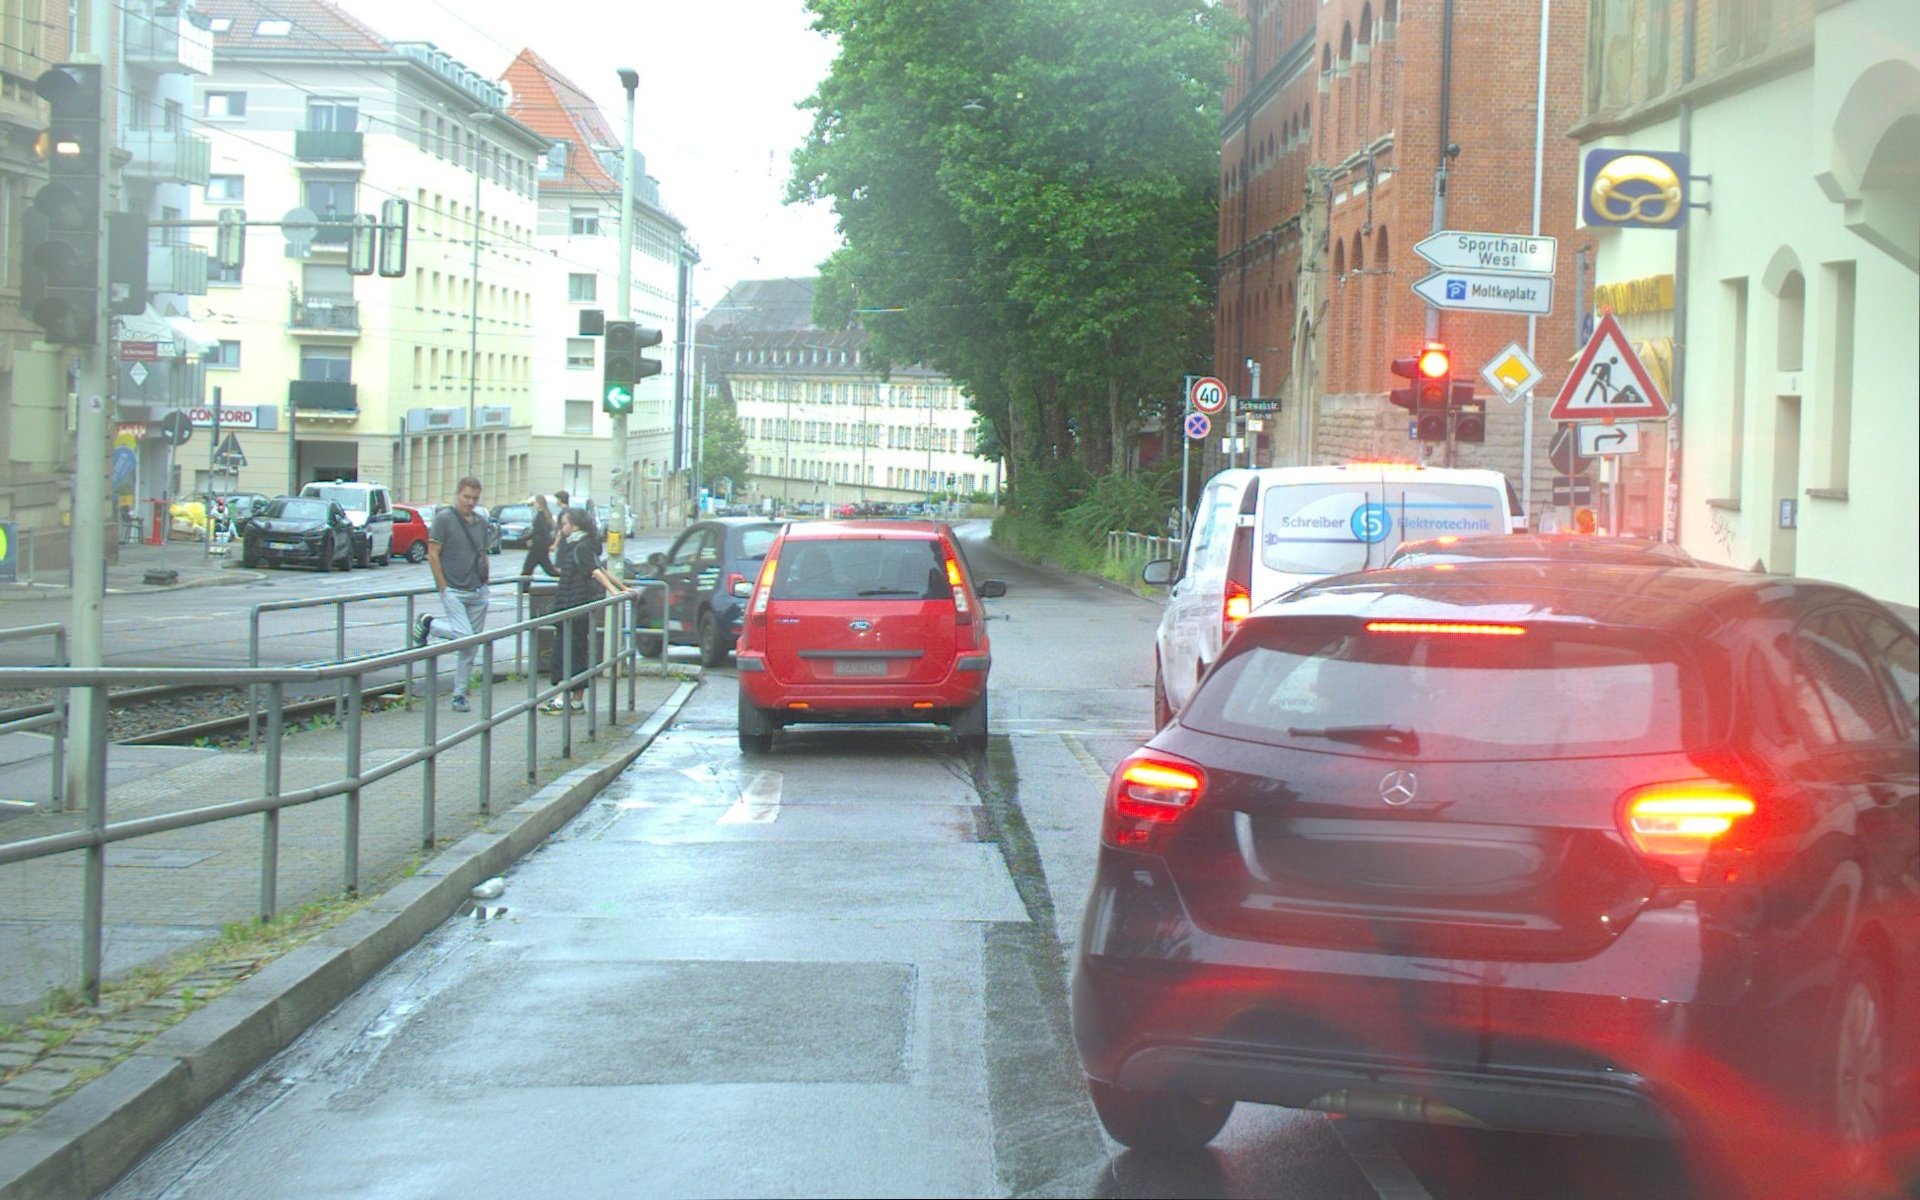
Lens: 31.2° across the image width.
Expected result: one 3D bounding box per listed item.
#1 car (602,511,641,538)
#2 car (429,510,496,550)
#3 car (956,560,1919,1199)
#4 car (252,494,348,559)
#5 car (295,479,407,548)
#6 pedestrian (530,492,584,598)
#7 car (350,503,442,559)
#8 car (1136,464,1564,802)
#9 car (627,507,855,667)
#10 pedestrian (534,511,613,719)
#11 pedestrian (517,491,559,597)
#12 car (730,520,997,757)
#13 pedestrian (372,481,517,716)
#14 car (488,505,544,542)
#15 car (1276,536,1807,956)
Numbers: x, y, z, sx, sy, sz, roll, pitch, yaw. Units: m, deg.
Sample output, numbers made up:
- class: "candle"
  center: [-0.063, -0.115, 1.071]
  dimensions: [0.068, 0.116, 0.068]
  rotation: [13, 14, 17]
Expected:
- class: "car"
  center: [-15.059, -3.368, 153.036]
  dimensions: [1.395, 1.167, 3.162]
  rotation: [2, 1, 0]
- class: "car"
  center: [-14.486, -2.049, 100.167]
  dimensions: [1.437, 1.103, 3.162]
  rotation: [2, 1, 0]
- class: "car"
  center: [1.735, 0.619, 8.989]
  dimensions: [1.897, 1.385, 3.994]
  rotation: [2, 1, 26]
- class: "car"
  center: [-14.296, -1.612, 74.566]
  dimensions: [1.452, 1.314, 3.295]
  rotation: [3, 2, -1]
- class: "car"
  center: [-14.329, -2.026, 81.113]
  dimensions: [1.786, 1.525, 4.462]
  rotation: [2, 1, 0]
- class: "pedestrian"
  center: [-6.327, -0.866, 54.042]
  dimensions: [0.679, 1.655, 0.676]
  rotation: [1, 1, 7]
- class: "car"
  center: [-14.311, -1.750, 87.431]
  dimensions: [1.680, 1.351, 3.703]
  rotation: [2, 1, 0]
- class: "car"
  center: [2.284, 0.130, 21.313]
  dimensions: [1.933, 1.825, 4.282]
  rotation: [2, 1, -3]
- class: "car"
  center: [-2.288, -0.159, 35.281]
  dimensions: [1.419, 1.484, 3.163]
  rotation: [1, 2, -21]
- class: "pedestrian"
  center: [-2.886, 0.108, 25.656]
  dimensions: [0.531, 1.525, 0.437]
  rotation: [2, 1, -8]
- class: "pedestrian"
  center: [-6.741, -0.893, 54.958]
  dimensions: [0.518, 1.660, 0.477]
  rotation: [3, 1, 3]
- class: "car"
  center: [-0.674, 0.204, 23.758]
  dimensions: [1.679, 1.484, 3.613]
  rotation: [1, 1, -2]
- class: "pedestrian"
  center: [-3.858, -0.016, 25.745]
  dimensions: [0.739, 1.718, 0.741]
  rotation: [1, 1, -43]
- class: "car"
  center: [-14.638, -2.524, 113.483]
  dimensions: [1.395, 1.167, 3.162]
  rotation: [2, 1, 0]
- class: "car"
  center: [2.301, 0.489, 14.608]
  dimensions: [1.713, 1.464, 4.281]
  rotation: [2, 1, 3]
